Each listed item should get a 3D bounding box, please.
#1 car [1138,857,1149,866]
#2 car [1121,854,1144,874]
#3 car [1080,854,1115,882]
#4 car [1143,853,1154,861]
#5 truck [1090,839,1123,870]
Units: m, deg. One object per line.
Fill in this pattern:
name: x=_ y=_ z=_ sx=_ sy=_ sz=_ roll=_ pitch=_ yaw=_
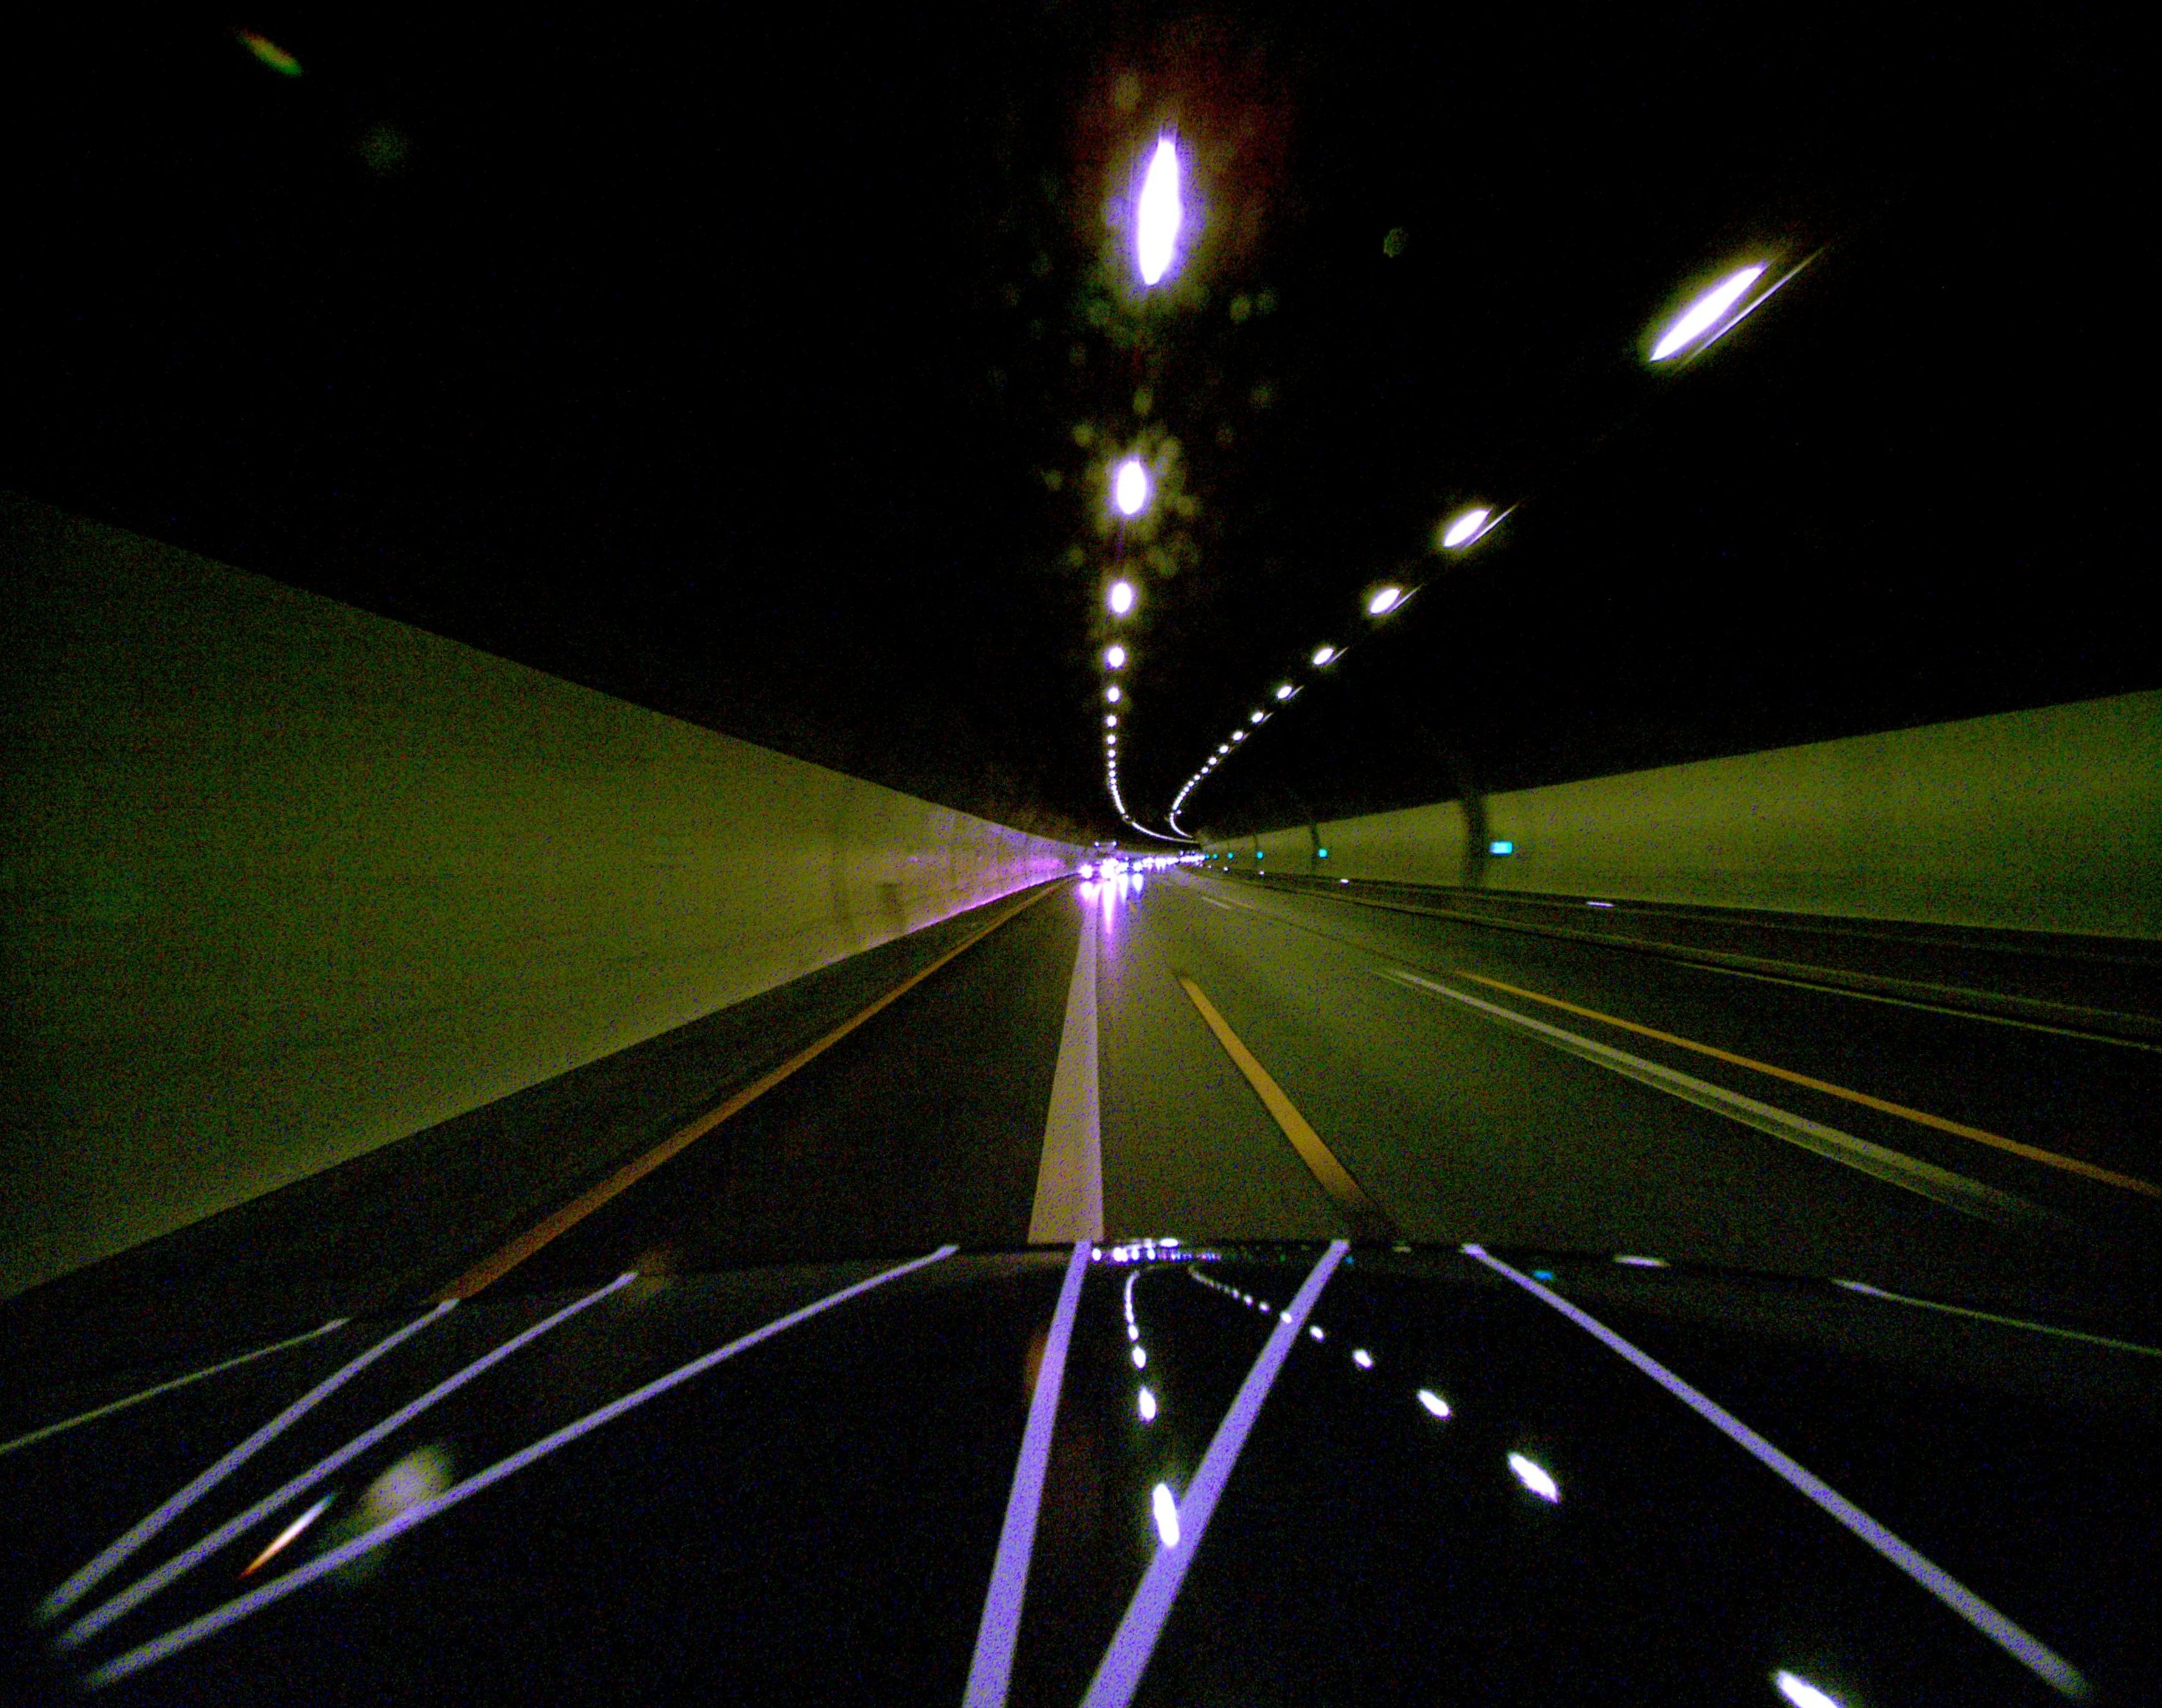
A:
car: x=13.732 y=1.575 z=166.224 sx=1.997 sy=1.892 sz=4.003 roll=-1 pitch=0 yaw=11
car: x=4.812 y=0.917 z=70.097 sx=1.998 sy=1.655 sz=4.001 roll=-2 pitch=0 yaw=5
car: x=1.072 y=0.920 z=50.916 sx=2.172 sy=1.709 sz=4.481 roll=-1 pitch=0 yaw=0
car: x=16.420 y=0.793 z=183.726 sx=1.996 sy=1.917 sz=4.389 roll=-1 pitch=0 yaw=13
truck: x=2.937 y=0.025 z=84.315 sx=2.987 sy=3.161 sz=10.513 roll=-1 pitch=0 yaw=6
